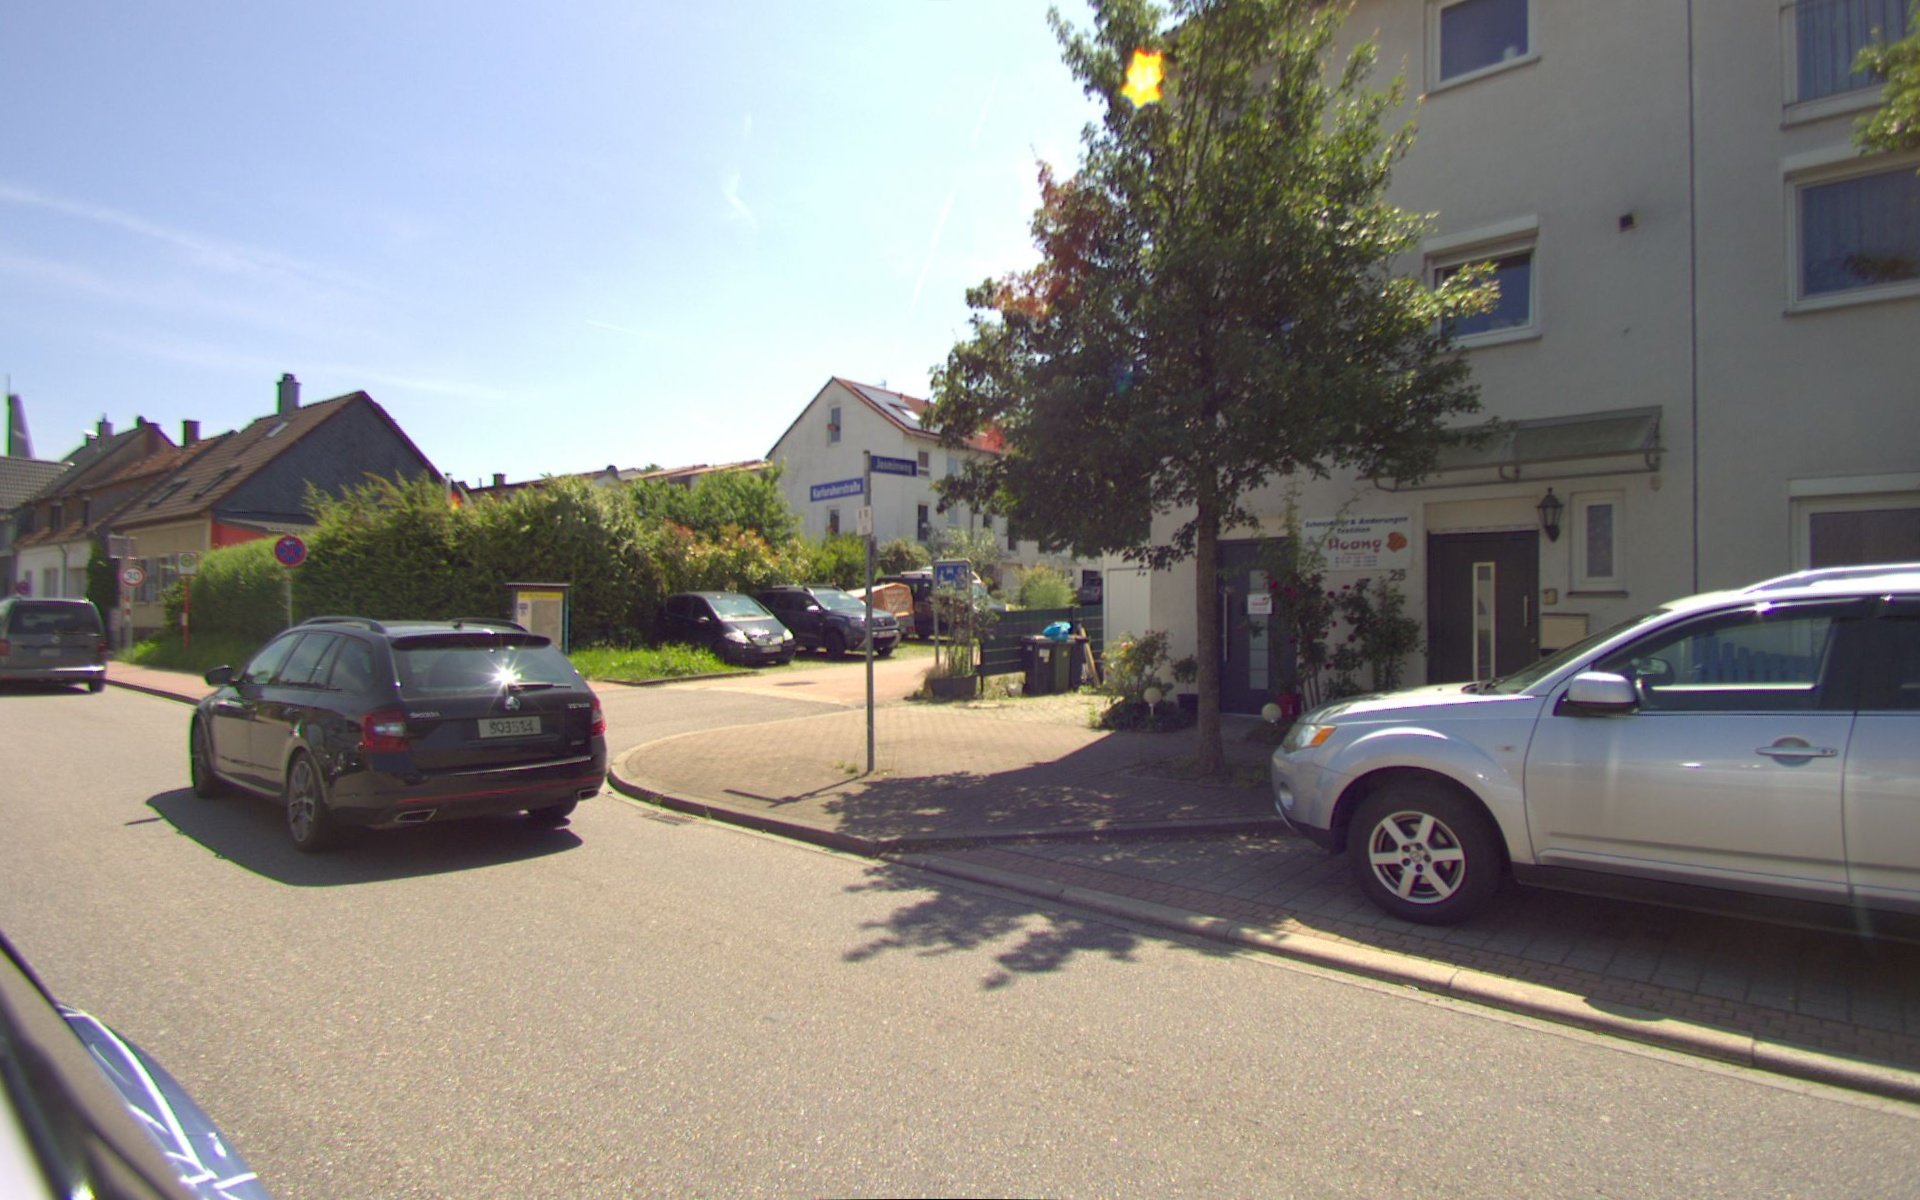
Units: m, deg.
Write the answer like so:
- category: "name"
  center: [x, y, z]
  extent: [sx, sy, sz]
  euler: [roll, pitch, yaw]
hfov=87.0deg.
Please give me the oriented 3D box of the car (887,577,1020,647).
- category: "car"
  center: [-0.221, 0.297, 28.109]
  extent: [3.552, 1.794, 1.605]
  euler: [0, 1, 44]

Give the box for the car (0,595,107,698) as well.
- category: "car"
  center: [-18.699, 0.901, 20.357]
  extent: [4.462, 1.869, 1.638]
  euler: [-1, -3, 41]

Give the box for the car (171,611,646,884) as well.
- category: "car"
  center: [-4.254, 0.842, 7.494]
  extent: [4.253, 1.458, 1.701]
  euler: [-1, -3, 42]

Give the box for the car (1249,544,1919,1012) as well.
- category: "car"
  center: [3.796, 0.653, 4.529]
  extent: [4.522, 1.699, 1.689]
  euler: [-1, -1, 40]

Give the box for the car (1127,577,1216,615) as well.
- category: "car"
  center: [8.534, -0.173, 40.711]
  extent: [3.580, 1.462, 1.595]
  euler: [0, 0, -38]

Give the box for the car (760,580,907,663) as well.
- category: "car"
  center: [-3.051, 0.477, 24.114]
  extent: [3.511, 1.793, 1.605]
  euler: [0, 1, 44]

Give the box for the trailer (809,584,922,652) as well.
- category: "trailer"
  center: [-2.537, 0.469, 26.951]
  extent: [2.688, 1.676, 1.413]
  euler: [-1, 2, 37]

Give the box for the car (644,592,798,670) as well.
- category: "car"
  center: [-5.374, 0.642, 22.518]
  extent: [3.653, 1.552, 1.605]
  euler: [0, 1, 44]

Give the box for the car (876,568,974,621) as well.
- category: "car"
  center: [-1.169, -0.217, 35.386]
  extent: [1.419, 1.747, 3.594]
  euler: [0, 1, 39]
